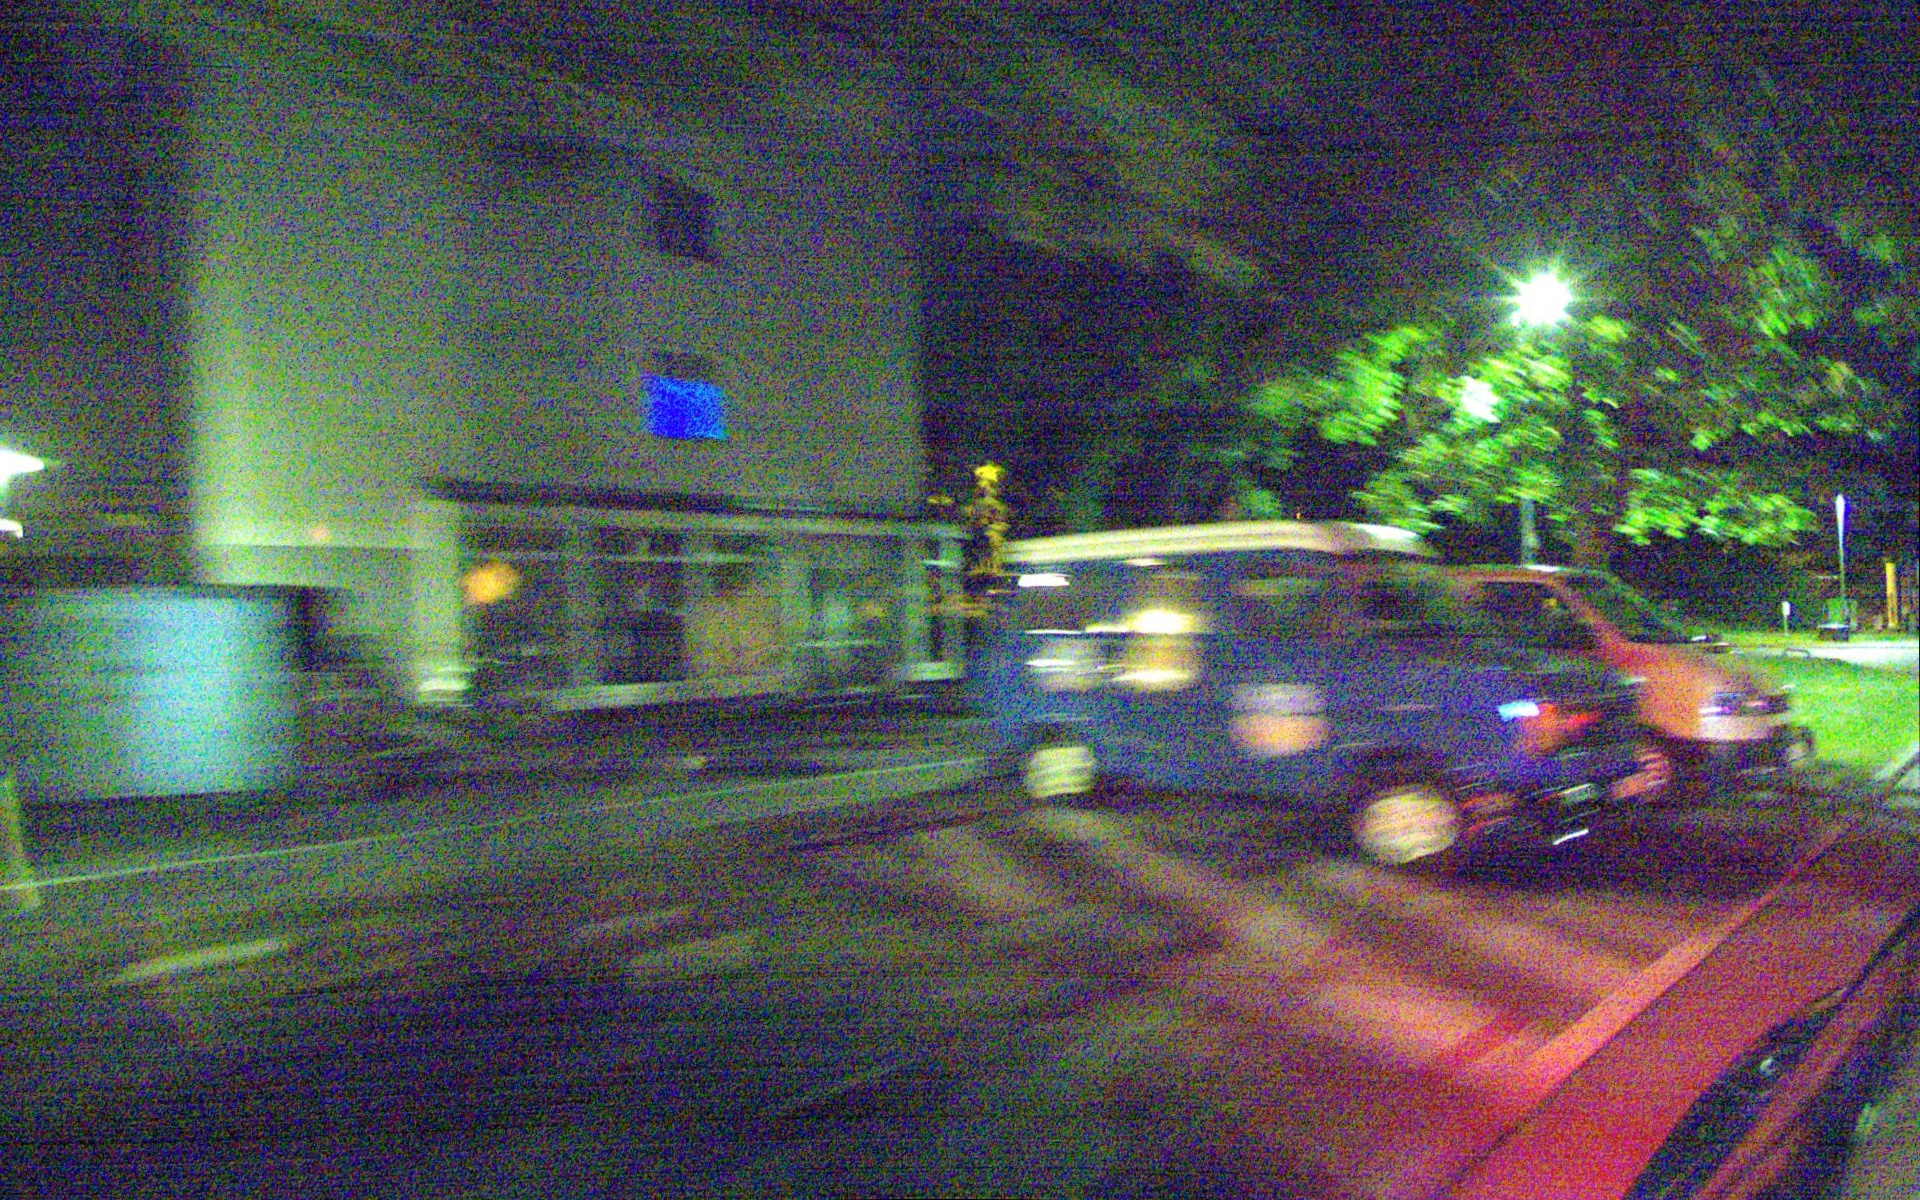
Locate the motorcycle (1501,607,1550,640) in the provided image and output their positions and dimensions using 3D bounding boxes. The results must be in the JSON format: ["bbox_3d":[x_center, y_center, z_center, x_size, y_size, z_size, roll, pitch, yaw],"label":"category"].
[{"bbox_3d":[20.781,0.839,37.191,1.559,1.148,0.572,1,1,31],"label":"motorcycle"}]

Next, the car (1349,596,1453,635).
[{"bbox_3d":[17.584,0.582,40.360,3.527,1.387,1.737,2,1,35],"label":"car"}]

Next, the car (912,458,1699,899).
[{"bbox_3d":[2.104,0.413,7.569,2.220,2.123,5.150,0,-1,-41],"label":"car"}]

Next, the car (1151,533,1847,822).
[{"bbox_3d":[4.492,0.536,9.231,2.220,1.868,5.150,0,-1,-41],"label":"car"}]
